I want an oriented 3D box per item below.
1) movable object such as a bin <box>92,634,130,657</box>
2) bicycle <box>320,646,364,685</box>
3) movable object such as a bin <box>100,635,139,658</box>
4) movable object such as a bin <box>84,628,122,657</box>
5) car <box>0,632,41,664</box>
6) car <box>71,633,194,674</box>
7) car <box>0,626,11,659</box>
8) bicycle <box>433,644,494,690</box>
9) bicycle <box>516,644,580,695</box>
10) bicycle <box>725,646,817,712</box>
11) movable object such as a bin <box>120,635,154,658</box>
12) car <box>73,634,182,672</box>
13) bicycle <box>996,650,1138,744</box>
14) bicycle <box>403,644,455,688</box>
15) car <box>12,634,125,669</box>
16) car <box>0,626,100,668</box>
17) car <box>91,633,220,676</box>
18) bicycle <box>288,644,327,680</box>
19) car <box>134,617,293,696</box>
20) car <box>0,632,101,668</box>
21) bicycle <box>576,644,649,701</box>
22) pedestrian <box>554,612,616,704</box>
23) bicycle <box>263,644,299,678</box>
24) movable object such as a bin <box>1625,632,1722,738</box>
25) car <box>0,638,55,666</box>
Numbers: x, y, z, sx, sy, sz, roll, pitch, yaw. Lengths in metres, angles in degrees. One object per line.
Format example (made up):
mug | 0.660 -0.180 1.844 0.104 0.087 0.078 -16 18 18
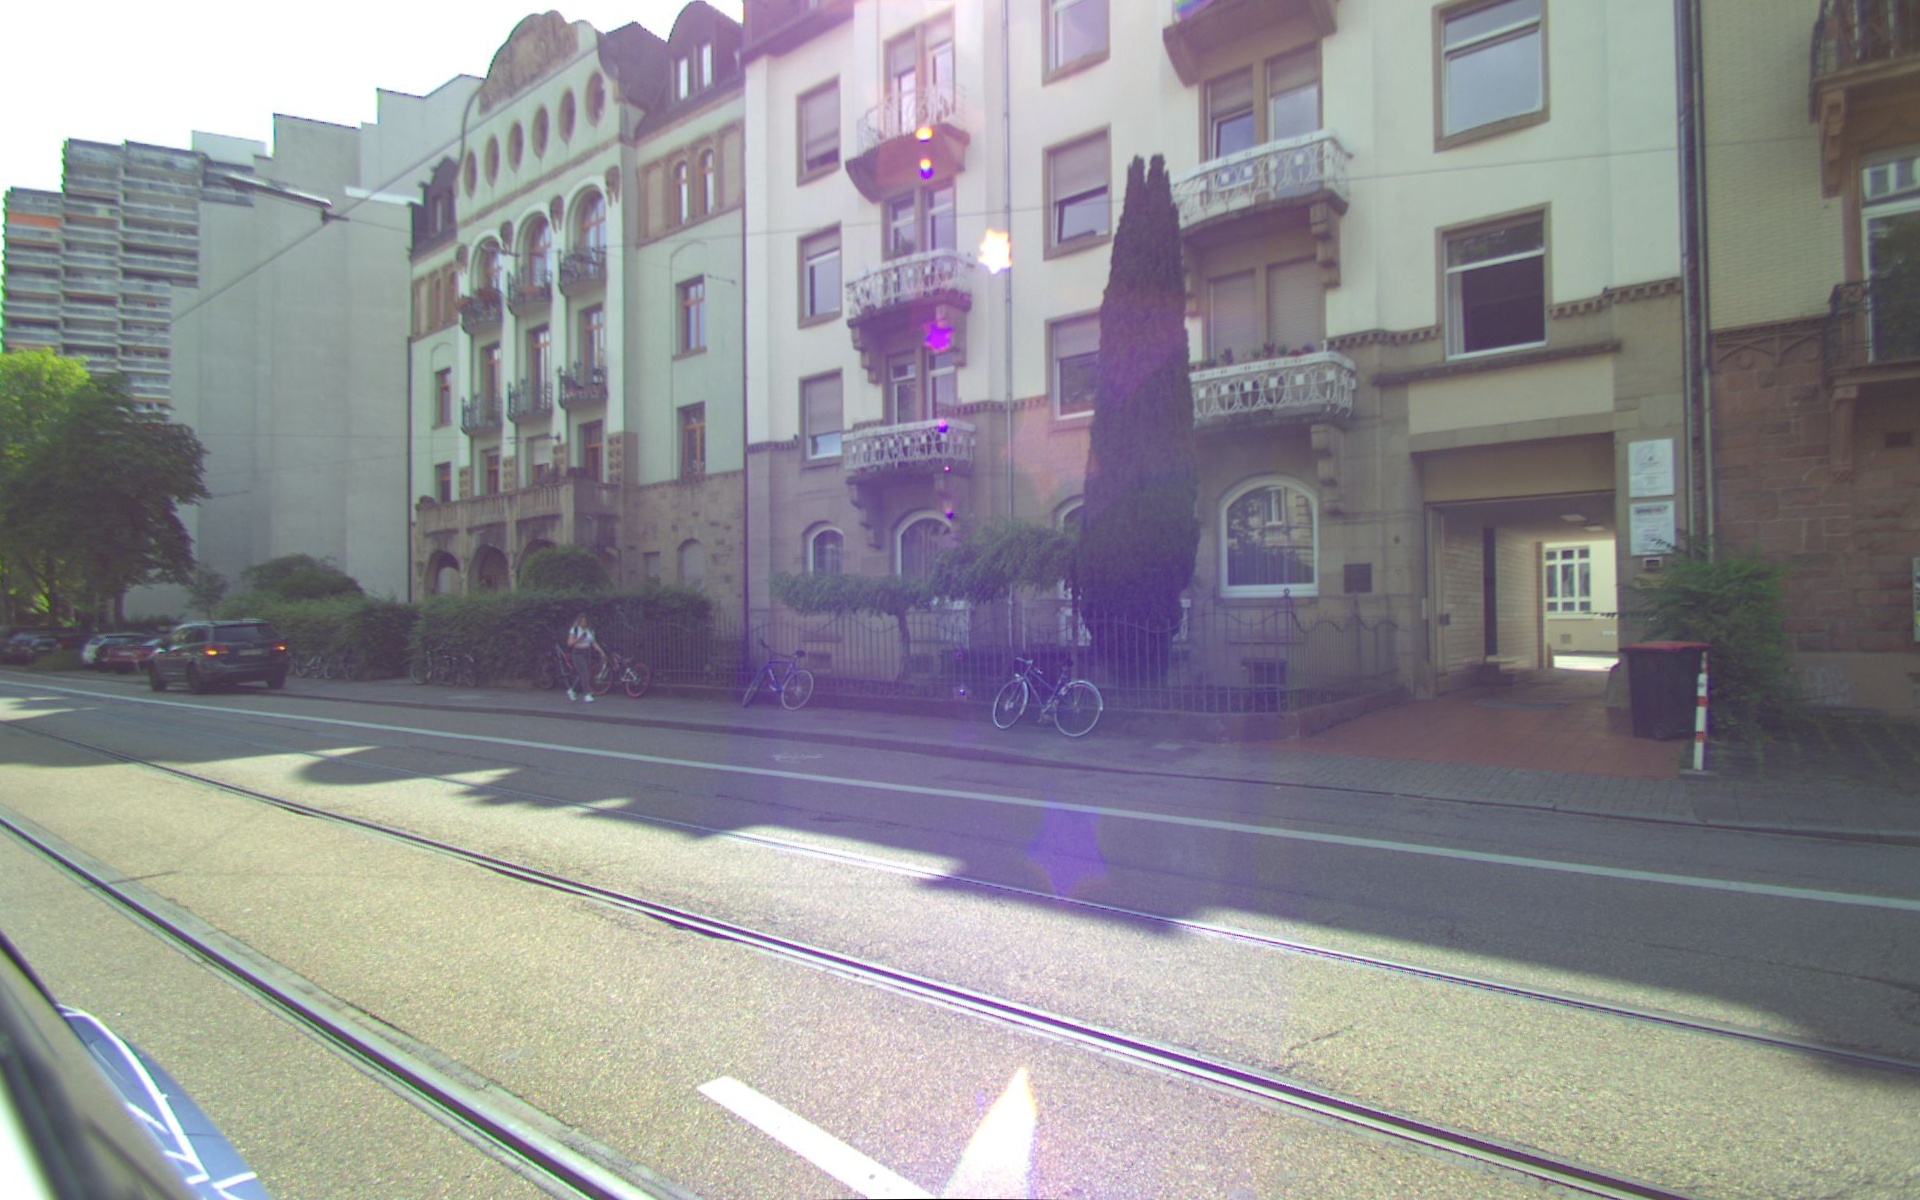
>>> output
movable object such as a bin | -52.112 2.807 62.114 1.535 1.374 1.375 -1 -4 34
bicycle | -16.309 1.716 26.690 1.919 0.966 0.379 -2 -1 40
movable object such as a bin | -50.777 2.804 61.136 1.535 1.374 1.375 -1 -4 34
movable object such as a bin | -53.508 2.651 63.172 1.535 1.795 1.375 -1 -4 34
car | -52.695 2.637 55.327 1.733 1.706 3.719 1 -3 -6
car | -32.151 2.101 39.456 1.673 1.495 3.808 1 -3 -2
car | -60.402 2.589 61.124 1.939 2.012 4.690 0 -2 -4
bicycle | -11.001 1.468 22.395 1.798 0.966 0.447 -2 0 38
bicycle | -8.308 1.380 20.365 1.799 0.966 0.379 -2 -1 40
bicycle | -3.009 1.219 15.983 1.704 0.966 0.422 -2 -1 40
movable object such as a bin | -47.041 2.647 57.847 1.439 1.293 1.157 -1 -5 37
car | -34.271 2.198 41.789 1.671 1.495 3.813 1 -3 -7
bicycle | 1.291 1.162 12.461 0.505 0.966 1.816 -3 3 -45
bicycle | -12.448 1.528 23.703 1.919 0.966 0.379 -2 -1 40
car | -40.138 2.338 45.680 1.715 1.495 4.003 1 -3 -4
car | -45.053 2.326 49.595 1.886 1.969 5.177 1 -3 -8
car | -29.679 2.020 37.521 1.818 1.495 3.974 1 -3 -5
bicycle | -18.191 1.707 28.207 1.808 0.966 0.379 -2 -1 40
car | -18.517 1.358 25.029 4.873 1.776 1.769 -2 -2 36
car | -42.650 2.351 47.404 1.714 1.605 4.005 1 -3 -6
bicycle | -6.443 1.324 18.723 1.799 0.983 0.379 -2 -1 40
pedestrian | -6.739 1.030 18.184 0.881 1.580 0.673 -2 0 40
bicycle | -19.812 1.769 29.524 1.808 0.966 0.379 -2 -1 40
movable object such as a bin | 7.814 0.911 11.099 0.587 1.077 0.609 -2 1 -18
car | -50.085 2.725 53.201 1.732 1.428 4.006 1 -3 -8
